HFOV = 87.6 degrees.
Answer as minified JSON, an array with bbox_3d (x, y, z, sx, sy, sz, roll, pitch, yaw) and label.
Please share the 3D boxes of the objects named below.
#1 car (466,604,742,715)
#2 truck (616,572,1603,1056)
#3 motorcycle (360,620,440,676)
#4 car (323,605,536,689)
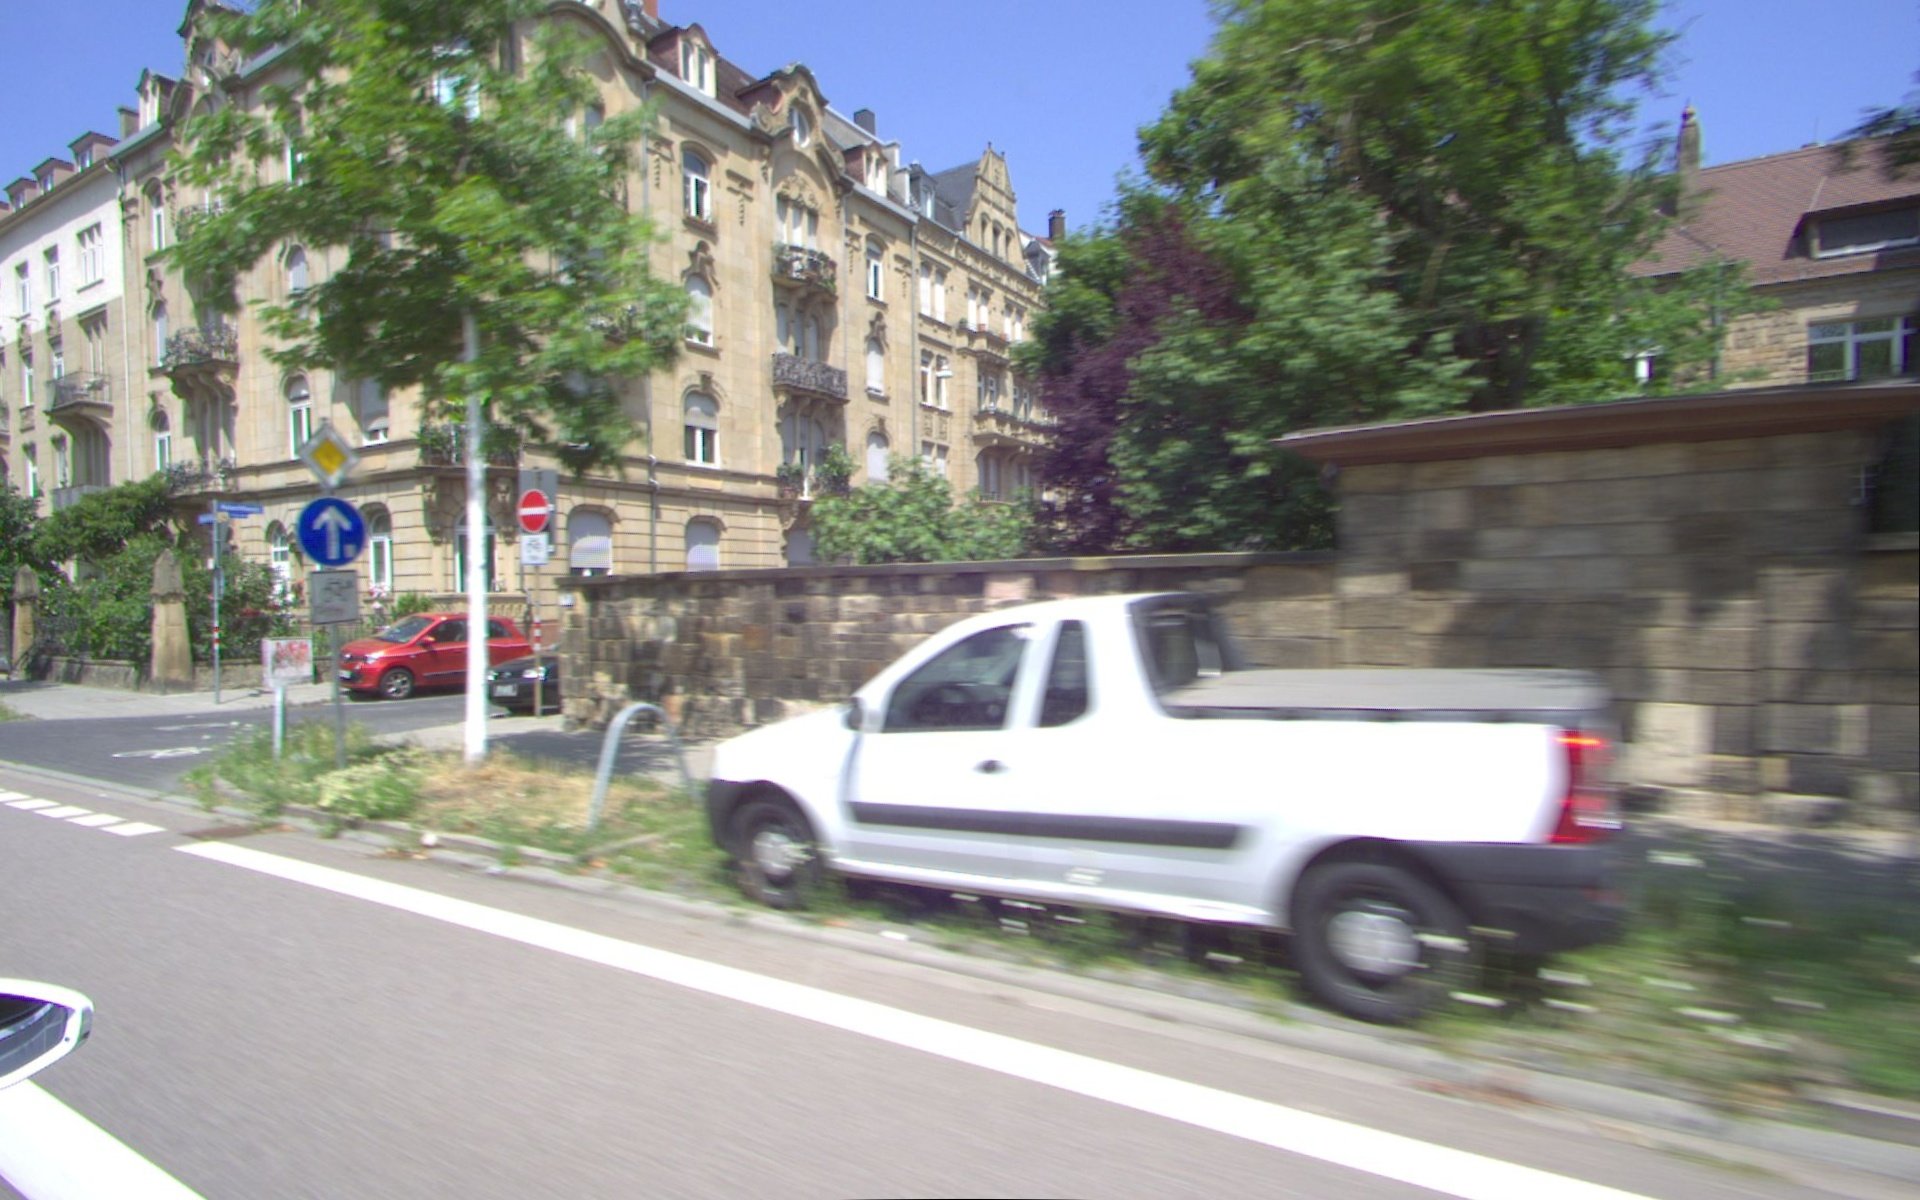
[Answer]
[{"bbox_3d":[-5.691,0.901,16.541,1.649,1.510,4.175,-4,-2,29],"label":"car"},{"bbox_3d":[0.534,0.691,5.035,4.396,1.546,1.787,0,1,29],"label":"truck"},{"bbox_3d":[-12.359,1.037,22.142,0.462,1.179,1.500,0,0,34],"label":"motorcycle"},{"bbox_3d":[-10.481,0.862,19.989,1.533,1.511,3.443,0,0,34],"label":"car"}]
